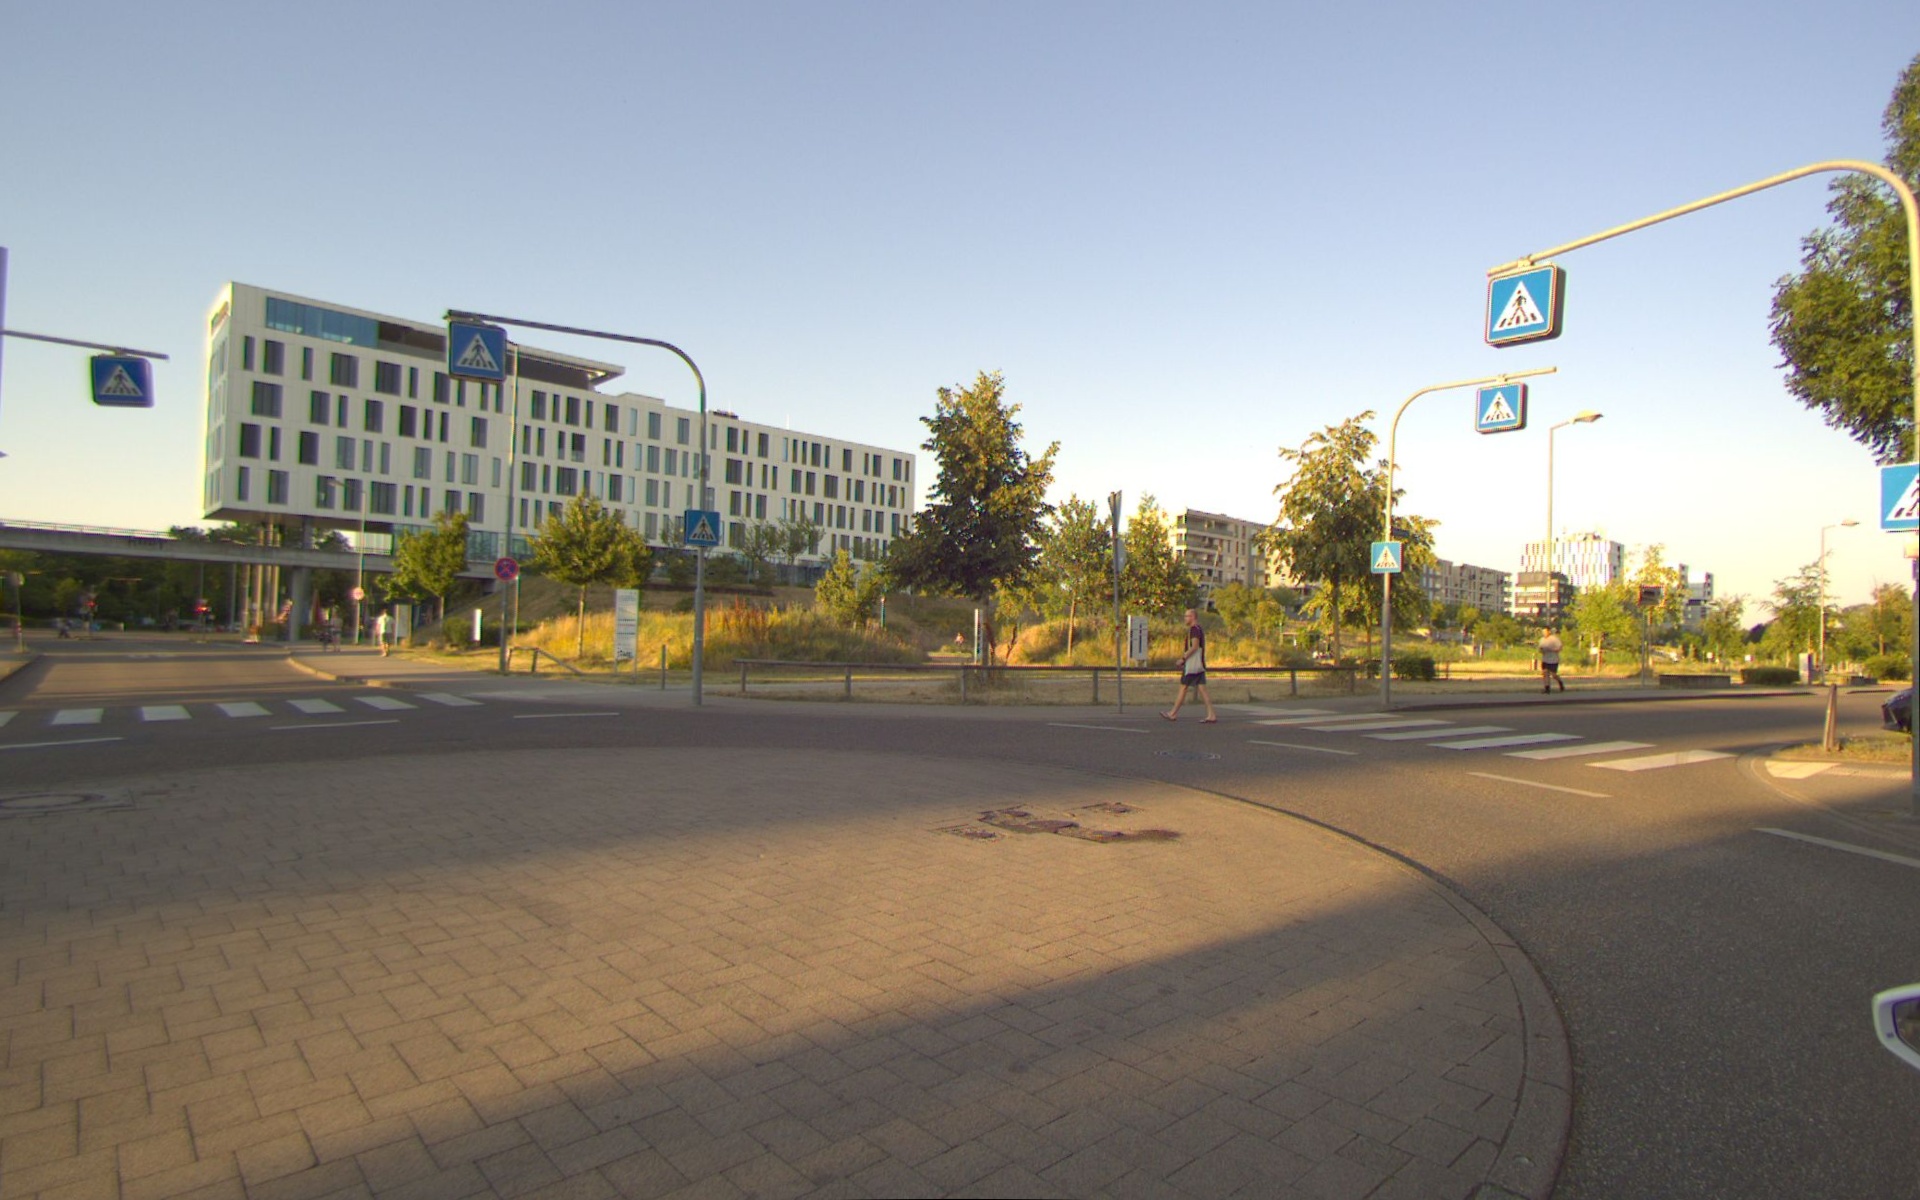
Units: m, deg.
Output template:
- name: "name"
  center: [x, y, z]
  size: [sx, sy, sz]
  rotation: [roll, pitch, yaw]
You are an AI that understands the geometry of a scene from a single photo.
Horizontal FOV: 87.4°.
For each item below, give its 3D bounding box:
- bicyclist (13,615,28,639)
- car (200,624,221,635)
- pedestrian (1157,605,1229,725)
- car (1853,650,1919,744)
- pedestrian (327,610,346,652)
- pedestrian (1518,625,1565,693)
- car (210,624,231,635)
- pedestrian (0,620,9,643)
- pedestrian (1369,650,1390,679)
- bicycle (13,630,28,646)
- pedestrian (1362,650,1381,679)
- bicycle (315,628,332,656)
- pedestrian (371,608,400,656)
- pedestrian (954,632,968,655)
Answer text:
- name: "bicyclist"
  center: [-67.050, 1.898, 71.712]
  size: [0.611, 1.684, 1.025]
  rotation: [3, -2, -37]
- name: "car"
  center: [-119.831, 4.769, 160.698]
  size: [1.477, 1.627, 3.392]
  rotation: [3, -2, -16]
- name: "pedestrian"
  center: [3.666, 1.005, 15.816]
  size: [0.728, 1.808, 0.792]
  rotation: [3, -2, -40]
- name: "car"
  center: [17.034, 1.540, 15.632]
  size: [1.818, 1.506, 4.431]
  rotation: [3, -5, -39]
- name: "pedestrian"
  center: [-27.729, 1.362, 44.675]
  size: [0.590, 1.825, 0.810]
  rotation: [3, -2, -35]
- name: "pedestrian"
  center: [15.226, 1.538, 26.314]
  size: [0.793, 1.752, 0.760]
  rotation: [3, -2, -33]
- name: "car"
  center: [-120.842, 4.847, 164.172]
  size: [1.477, 1.627, 3.392]
  rotation: [3, -2, -16]
- name: "pedestrian"
  center: [-77.676, 2.540, 81.085]
  size: [0.880, 1.858, 1.054]
  rotation: [1, -2, 34]
- name: "pedestrian"
  center: [15.606, 2.395, 37.374]
  size: [0.567, 1.018, 0.493]
  rotation: [3, -2, -43]
- name: "bicycle"
  center: [-67.087, 2.700, 71.716]
  size: [0.535, 1.056, 1.904]
  rotation: [3, -2, -37]
- name: "pedestrian"
  center: [15.118, 2.362, 36.902]
  size: [0.478, 1.018, 0.493]
  rotation: [3, -2, -43]
- name: "bicycle"
  center: [-28.084, 1.844, 44.310]
  size: [0.447, 1.184, 1.921]
  rotation: [3, -2, -36]
- name: "pedestrian"
  center: [-21.757, 1.207, 38.029]
  size: [0.826, 1.790, 0.810]
  rotation: [3, -2, -35]
- name: "pedestrian"
  center: [0.072, 3.621, 83.569]
  size: [0.810, 1.790, 0.826]
  rotation: [3, -2, -35]
